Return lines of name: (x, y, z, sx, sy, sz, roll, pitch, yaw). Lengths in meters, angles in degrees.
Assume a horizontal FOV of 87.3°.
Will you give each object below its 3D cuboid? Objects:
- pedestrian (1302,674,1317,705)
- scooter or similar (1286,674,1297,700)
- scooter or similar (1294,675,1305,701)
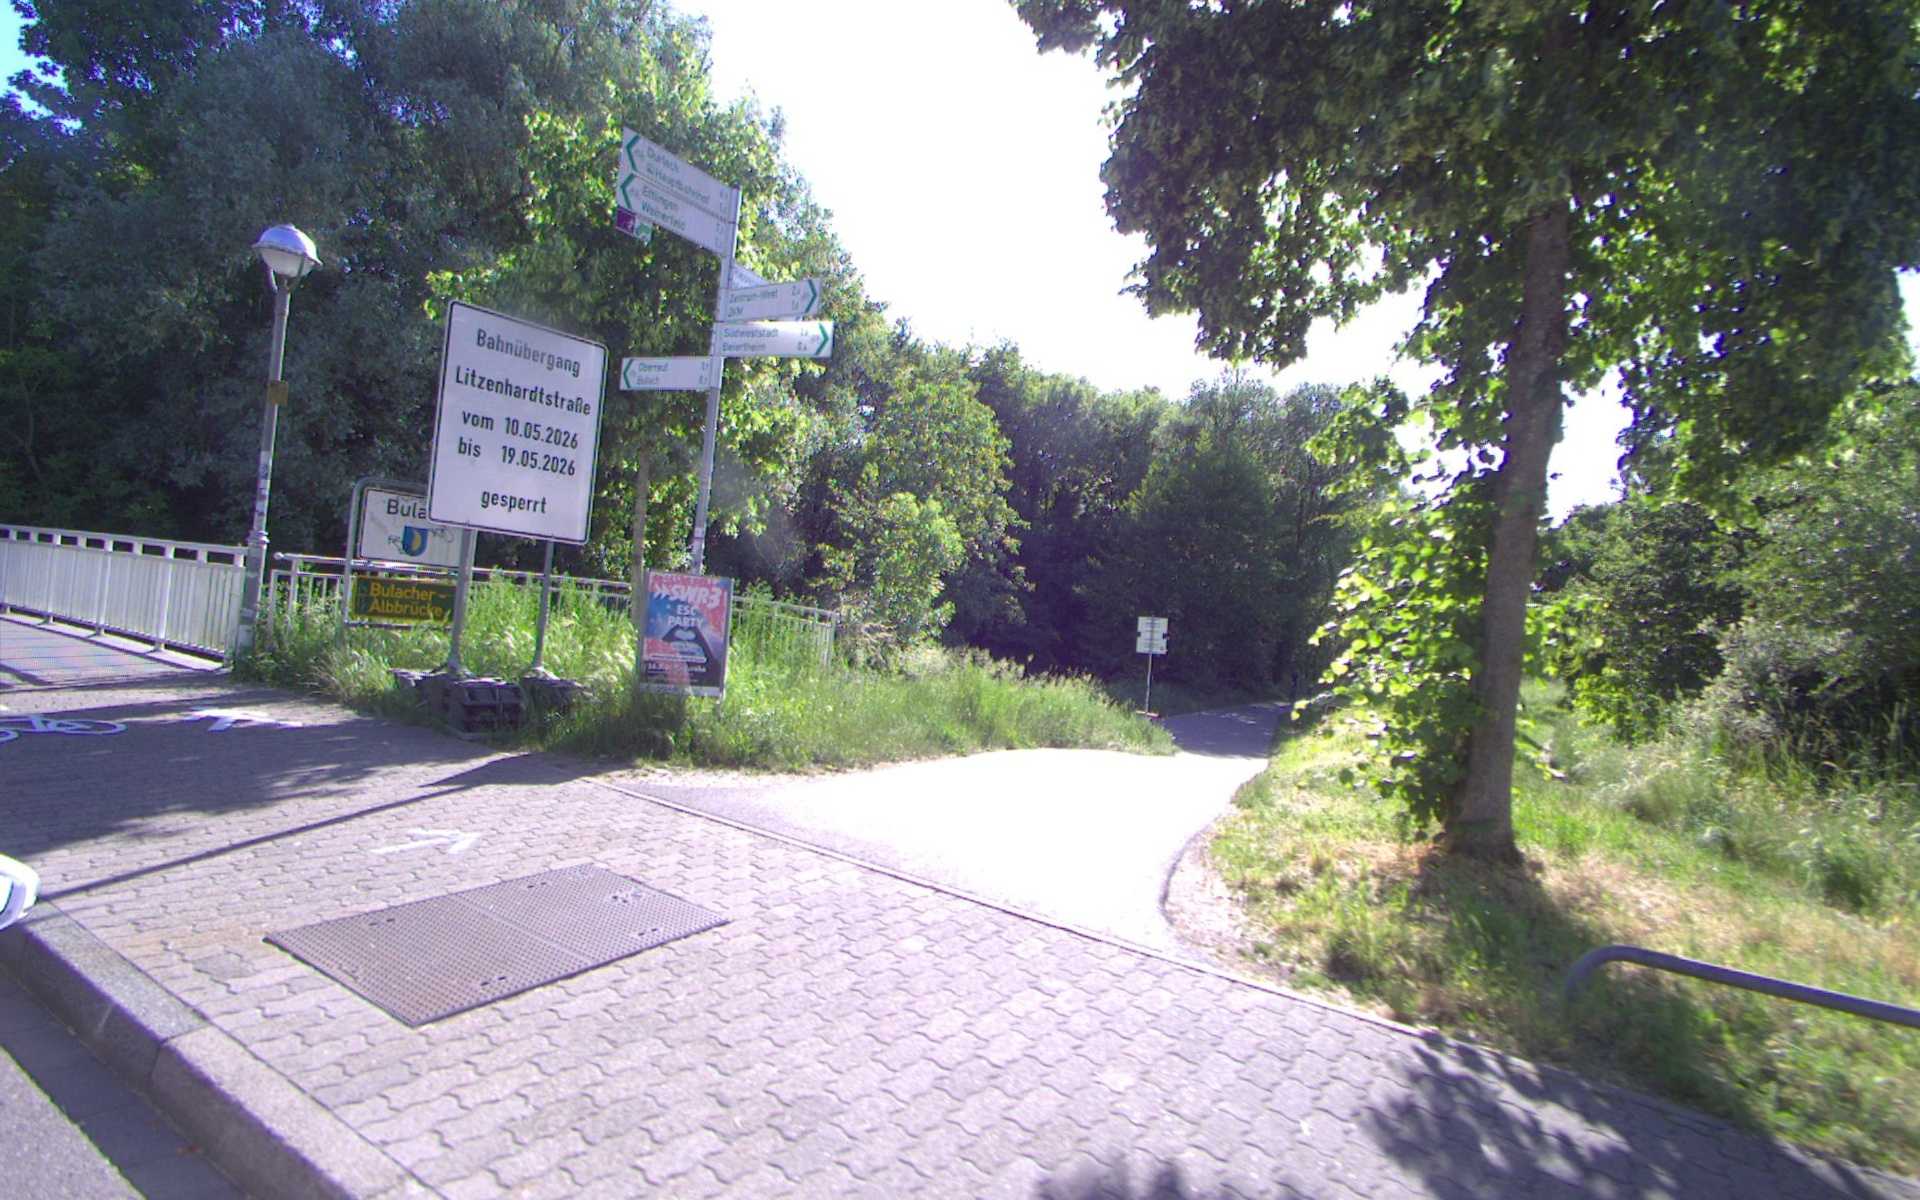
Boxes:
pedestrian: (20.028, 5.112, 57.616, 0.492, 1.723, 0.544, 9, 2, 31)
scooter or similar: (19.491, 5.131, 59.207, 0.339, 1.482, 0.665, 8, 2, 27)
scooter or similar: (20.008, 5.202, 59.324, 0.339, 1.482, 0.665, 8, 2, 27)
